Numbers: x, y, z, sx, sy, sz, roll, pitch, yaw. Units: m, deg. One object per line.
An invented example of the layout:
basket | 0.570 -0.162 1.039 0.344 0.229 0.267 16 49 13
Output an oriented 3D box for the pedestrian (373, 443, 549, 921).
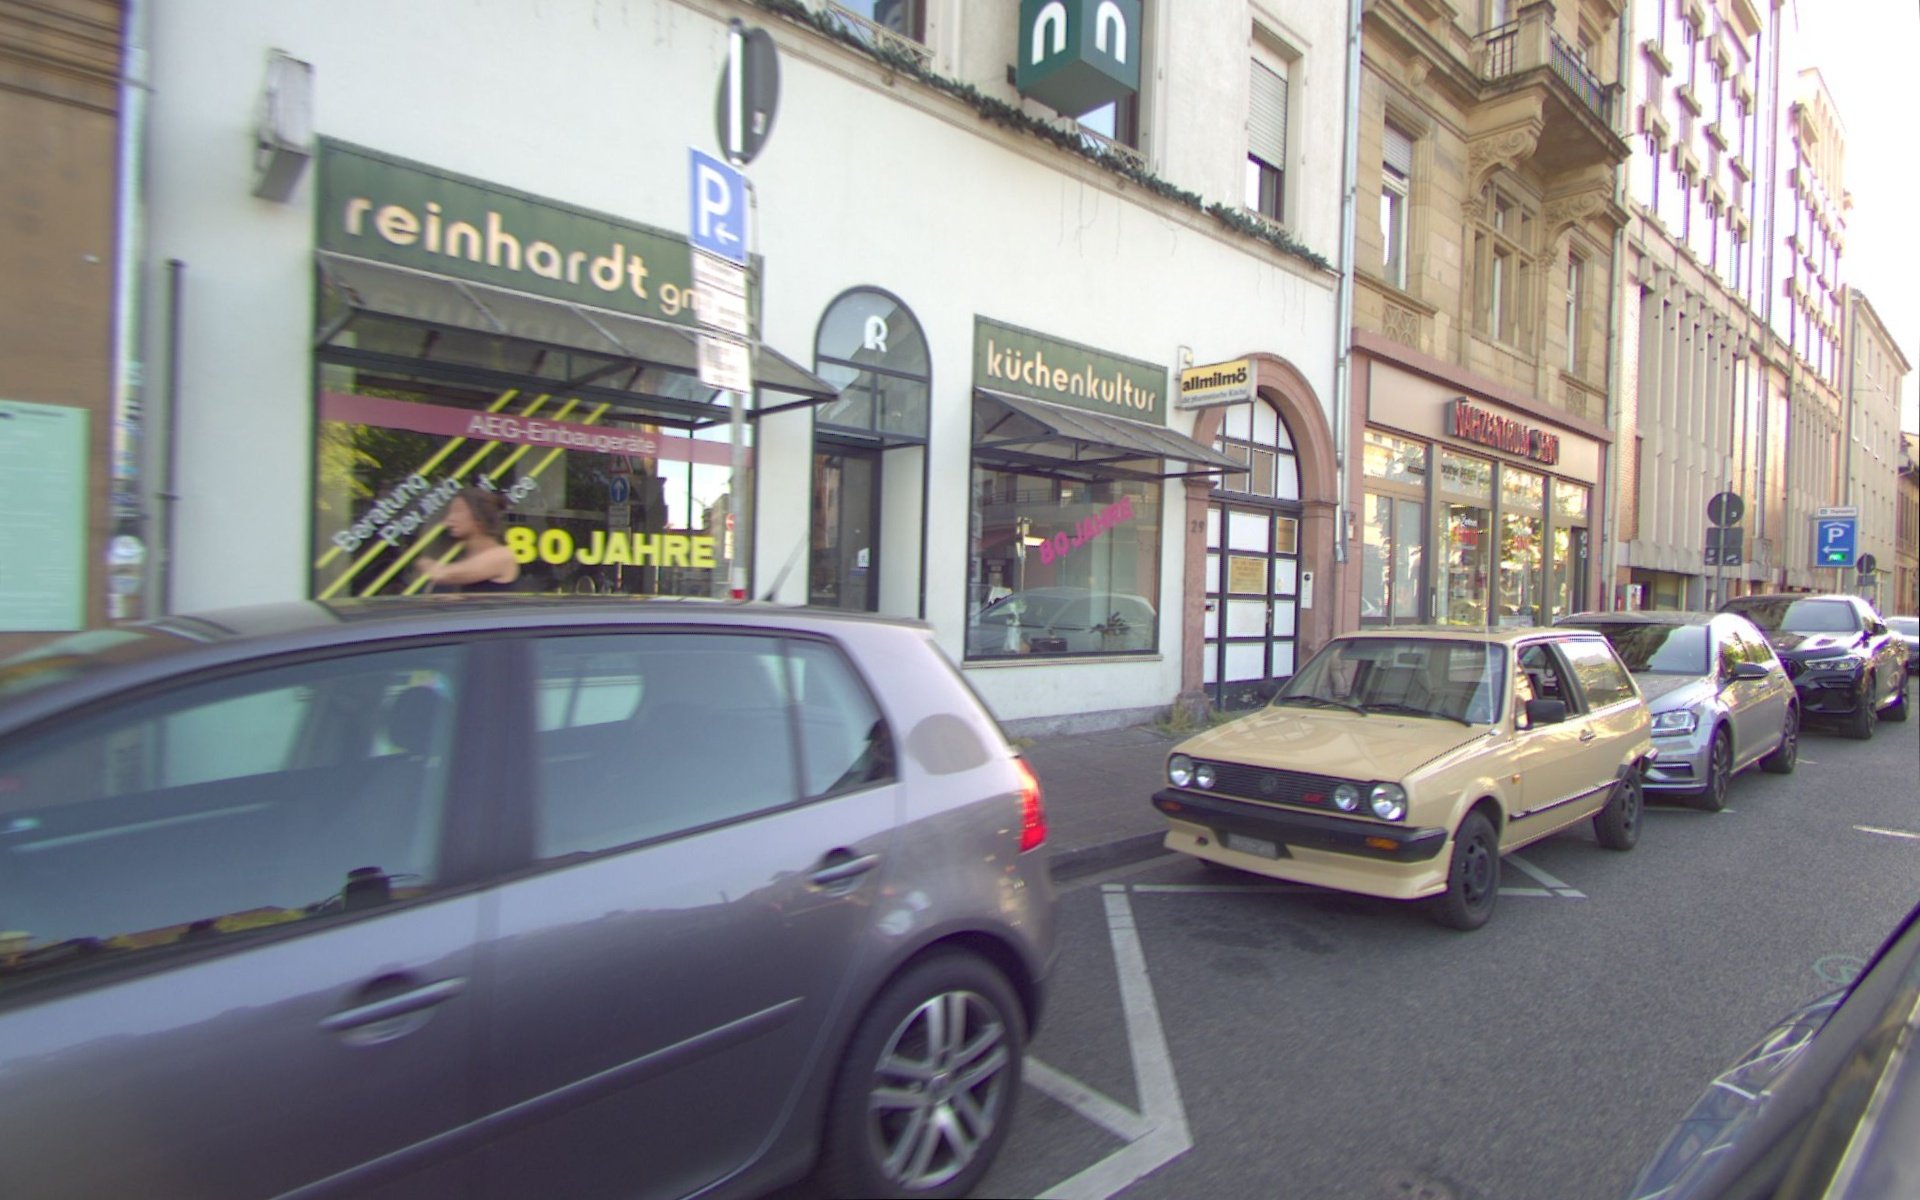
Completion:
pedestrian | -2.075 0.302 4.194 0.509 1.788 0.622 1 0 -38

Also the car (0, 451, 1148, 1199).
car | -1.626 0.597 2.123 4.155 1.566 1.841 1 -1 -42

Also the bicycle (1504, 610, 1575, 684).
bicycle | 9.279 0.727 16.172 1.908 1.098 0.358 1 3 -42

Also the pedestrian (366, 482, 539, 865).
pedestrian | -2.497 0.308 4.954 0.579 1.695 0.803 1 2 -38

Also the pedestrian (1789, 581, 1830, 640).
pedestrian | 24.729 0.296 29.462 0.874 1.655 0.693 1 3 -42

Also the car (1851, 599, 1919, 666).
car | 25.037 0.846 26.446 4.877 1.496 1.922 1 5 -41

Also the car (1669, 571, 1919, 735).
car | 11.069 0.598 13.098 4.738 1.747 1.977 1 -1 -40

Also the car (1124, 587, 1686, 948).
car | 2.806 0.704 5.980 3.763 1.468 1.611 1 -1 -41

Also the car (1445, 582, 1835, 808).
car | 6.046 0.657 8.809 4.111 1.506 1.842 1 -1 -41
